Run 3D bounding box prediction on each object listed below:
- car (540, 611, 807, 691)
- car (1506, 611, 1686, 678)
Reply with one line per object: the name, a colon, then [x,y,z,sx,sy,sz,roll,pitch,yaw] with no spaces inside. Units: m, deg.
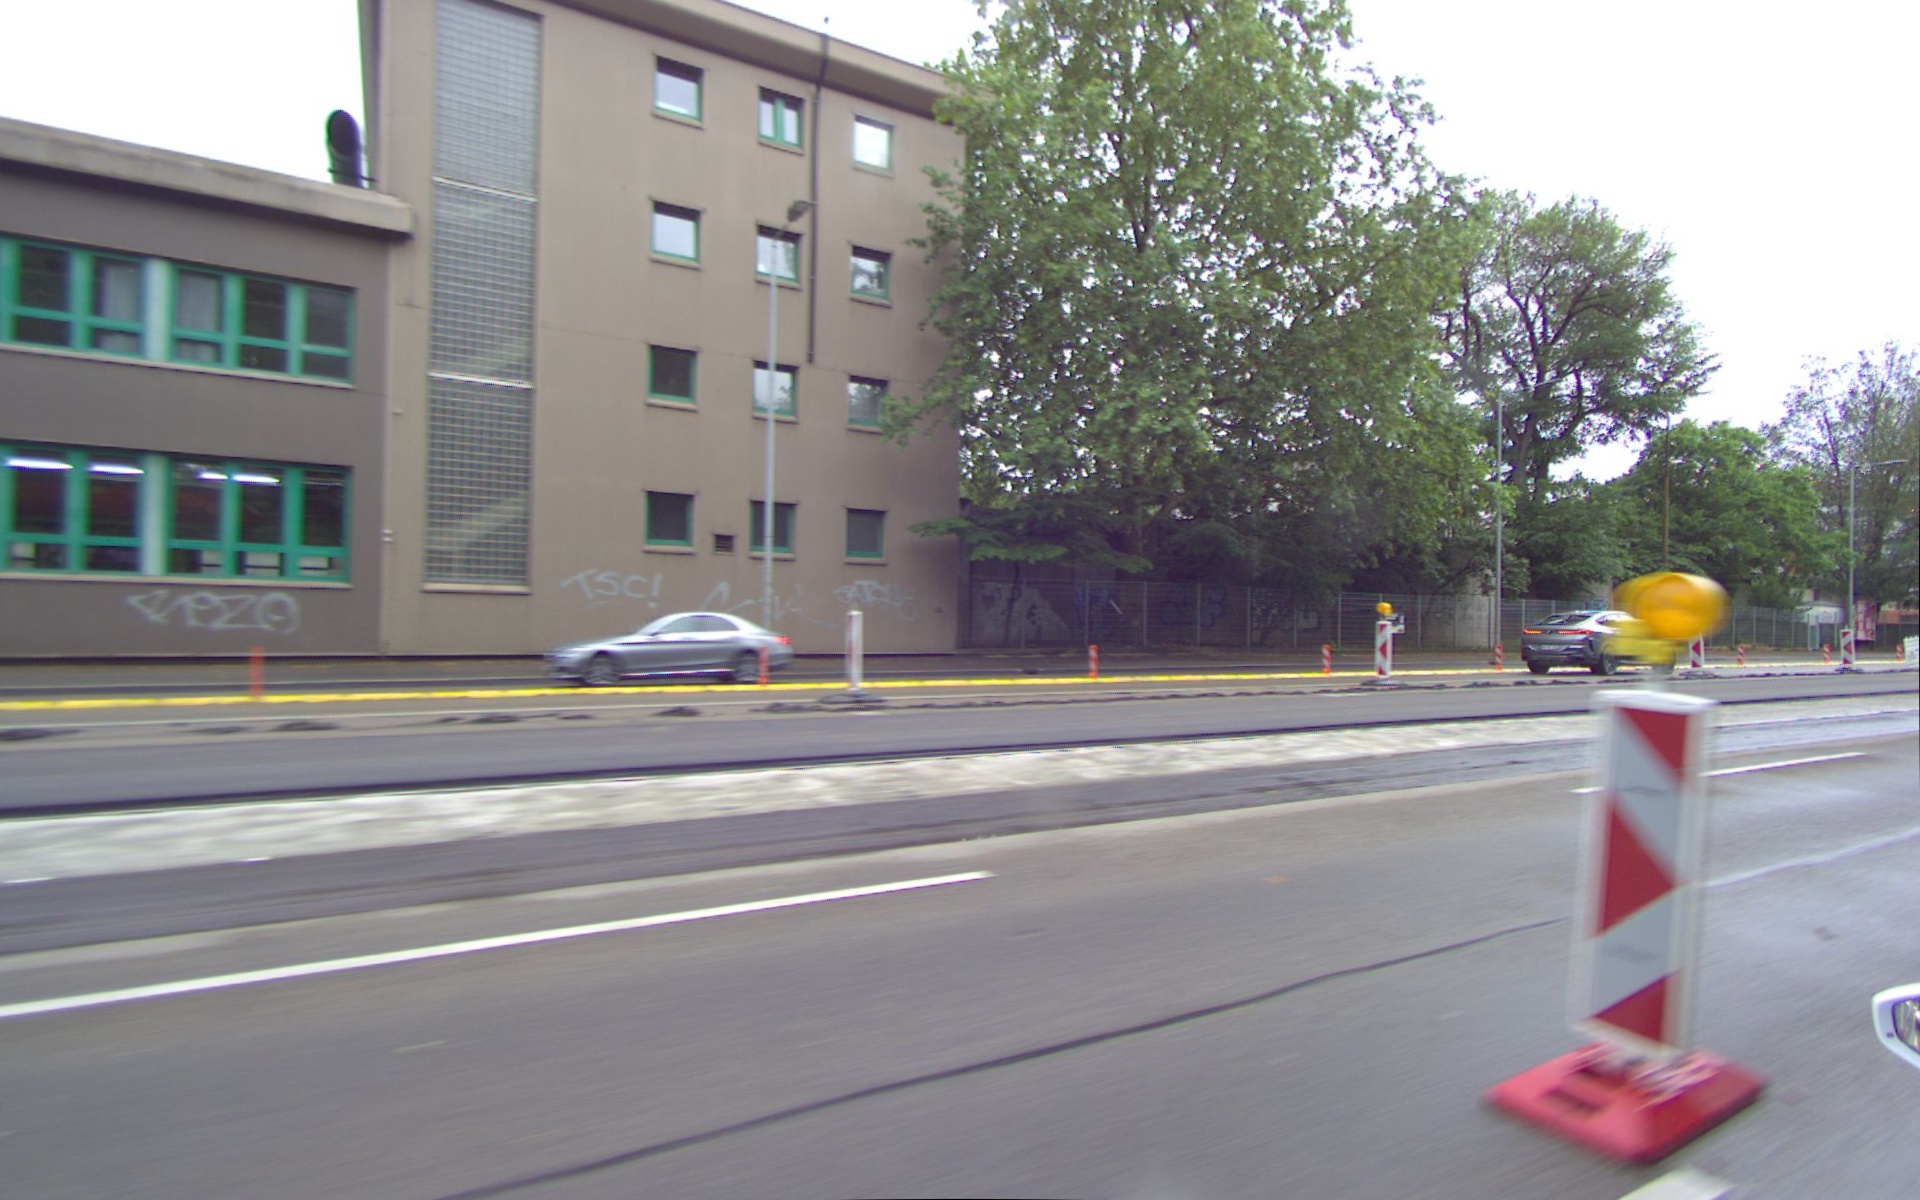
car: [-5.603,0.973,19.822,4.734,1.366,1.984,2,0,-30]
car: [17.148,1.169,27.030,4.998,1.634,2.066,2,0,-31]
